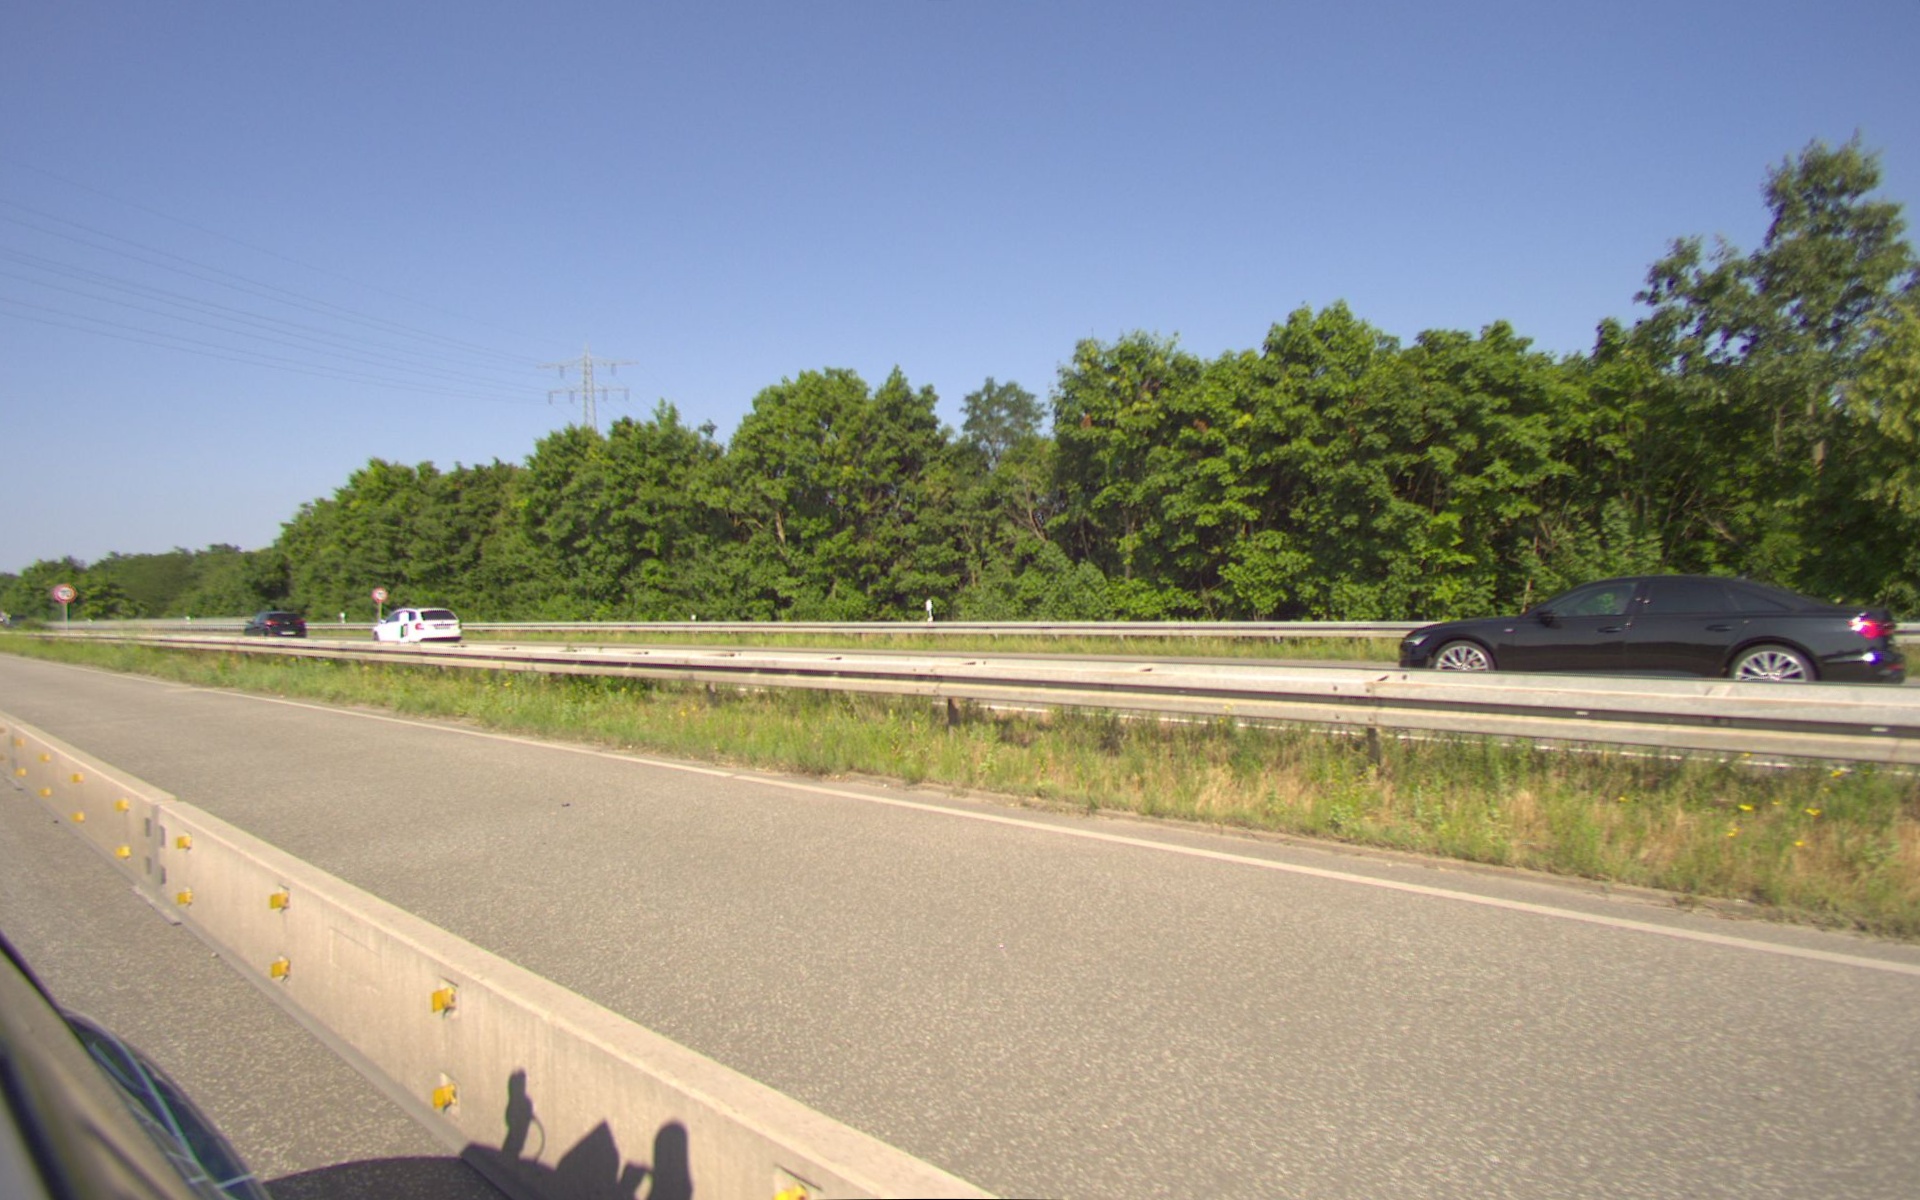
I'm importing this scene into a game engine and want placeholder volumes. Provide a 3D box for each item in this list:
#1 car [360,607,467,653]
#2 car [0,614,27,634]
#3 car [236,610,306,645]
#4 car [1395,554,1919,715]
[{"bbox_3d":[-19.594,1.045,36.216,4.791,1.481,1.742,-1,1,41],"label":"car"},{"bbox_3d":[-103.102,2.600,109.882,5.163,2.050,1.974,-1,1,40],"label":"car"},{"bbox_3d":[-32.181,1.278,47.244,4.107,1.505,1.720,-1,0,41],"label":"car"},{"bbox_3d":[7.872,0.372,11.586,5.021,1.499,1.797,-1,-2,41],"label":"car"}]
